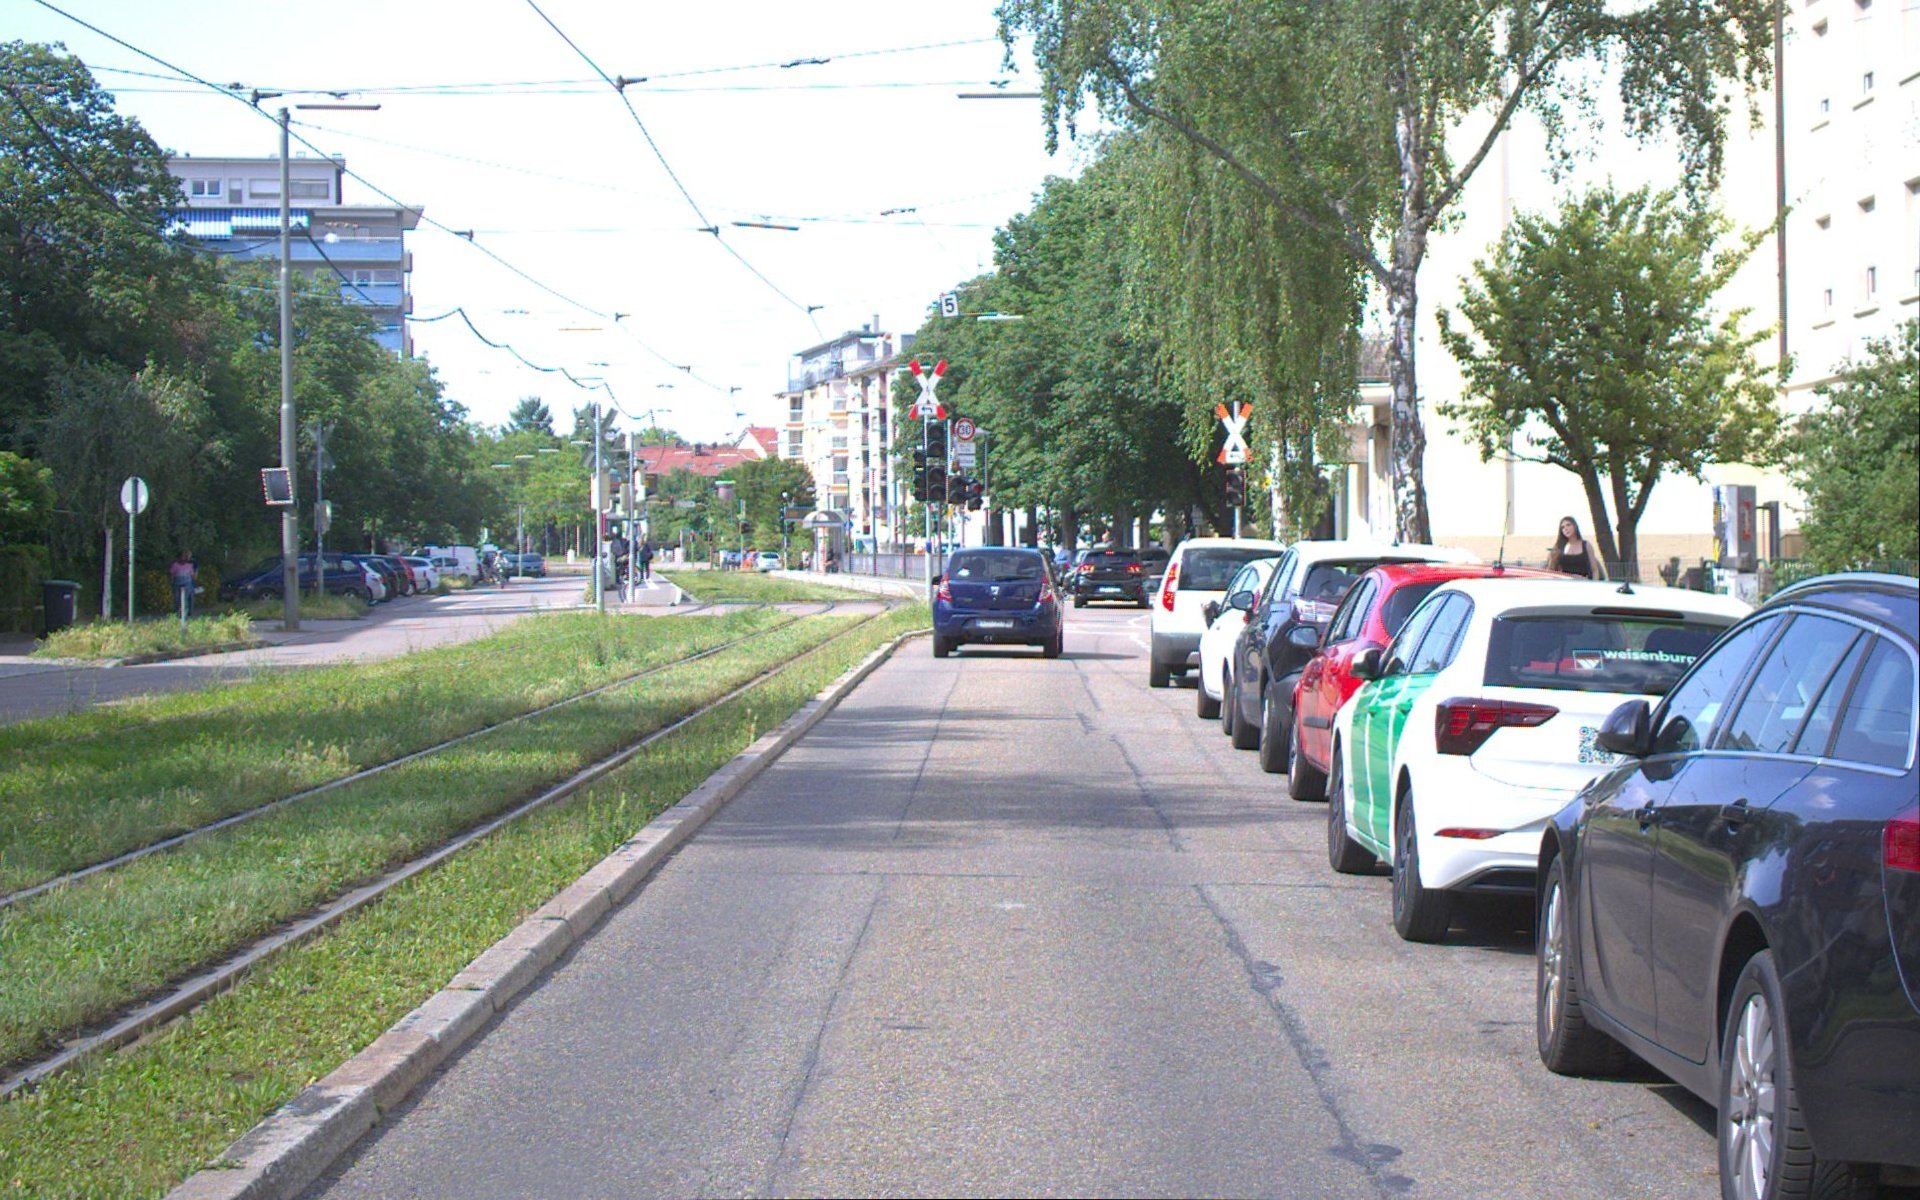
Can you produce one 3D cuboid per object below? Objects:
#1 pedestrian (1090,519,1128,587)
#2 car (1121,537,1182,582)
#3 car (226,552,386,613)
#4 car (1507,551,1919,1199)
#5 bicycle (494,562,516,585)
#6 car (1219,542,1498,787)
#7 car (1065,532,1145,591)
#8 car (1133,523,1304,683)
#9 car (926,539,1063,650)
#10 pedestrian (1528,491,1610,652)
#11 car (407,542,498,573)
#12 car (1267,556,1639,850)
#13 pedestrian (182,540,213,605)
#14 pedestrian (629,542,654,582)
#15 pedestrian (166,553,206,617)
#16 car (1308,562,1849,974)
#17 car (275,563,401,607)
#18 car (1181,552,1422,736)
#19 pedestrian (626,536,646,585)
[{"bbox_3d":[3.907,-1.228,90.071,0.870,1.769,1.004,0,1,-4],"label":"pedestrian"},{"bbox_3d":[6.529,-1.388,117.722,1.861,1.440,4.000,-2,1,1],"label":"car"},{"bbox_3d":[-18.331,-0.513,96.445,4.122,1.635,1.725,-1,1,-44],"label":"car"},{"bbox_3d":[2.590,0.681,8.338,1.792,1.515,4.526,2,1,1],"label":"car"},{"bbox_3d":[-20.018,-1.170,151.234,0.680,0.967,2.179,-1,1,-1],"label":"bicycle"},{"bbox_3d":[2.776,0.392,24.579,1.493,1.574,3.759,2,1,0],"label":"car"},{"bbox_3d":[3.485,-0.939,82.989,1.700,1.363,3.515,1,1,-1],"label":"car"},{"bbox_3d":[2.825,0.003,37.850,1.721,1.624,4.000,2,1,4],"label":"car"},{"bbox_3d":[0.515,-0.104,47.384,1.768,1.457,3.775,1,1,2],"label":"car"},{"bbox_3d":[6.503,-0.305,36.709,0.730,1.677,0.691,-3,1,5],"label":"pedestrian"},{"bbox_3d":[-24.526,-2.066,166.219,3.988,1.442,1.727,-1,1,-39],"label":"car"},{"bbox_3d":[2.749,0.514,19.896,1.589,1.447,3.844,3,1,1],"label":"car"},{"bbox_3d":[-19.507,-0.698,87.938,0.557,1.651,0.747,-1,0,4],"label":"pedestrian"},{"bbox_3d":[-11.391,-1.363,122.942,0.655,1.421,0.562,-1,1,33],"label":"pedestrian"},{"bbox_3d":[-19.201,-0.364,85.303,0.745,1.568,0.889,-1,-1,4],"label":"pedestrian"},{"bbox_3d":[2.514,0.608,14.840,1.619,1.447,3.918,3,1,1],"label":"car"},{"bbox_3d":[-18.462,-0.452,102.099,3.380,1.232,1.543,-1,1,-44],"label":"car"},{"bbox_3d":[2.873,0.330,29.591,1.672,1.412,3.795,2,1,0],"label":"car"},{"bbox_3d":[-11.537,-1.407,122.478,0.604,1.760,0.639,-1,1,5],"label":"pedestrian"}]
